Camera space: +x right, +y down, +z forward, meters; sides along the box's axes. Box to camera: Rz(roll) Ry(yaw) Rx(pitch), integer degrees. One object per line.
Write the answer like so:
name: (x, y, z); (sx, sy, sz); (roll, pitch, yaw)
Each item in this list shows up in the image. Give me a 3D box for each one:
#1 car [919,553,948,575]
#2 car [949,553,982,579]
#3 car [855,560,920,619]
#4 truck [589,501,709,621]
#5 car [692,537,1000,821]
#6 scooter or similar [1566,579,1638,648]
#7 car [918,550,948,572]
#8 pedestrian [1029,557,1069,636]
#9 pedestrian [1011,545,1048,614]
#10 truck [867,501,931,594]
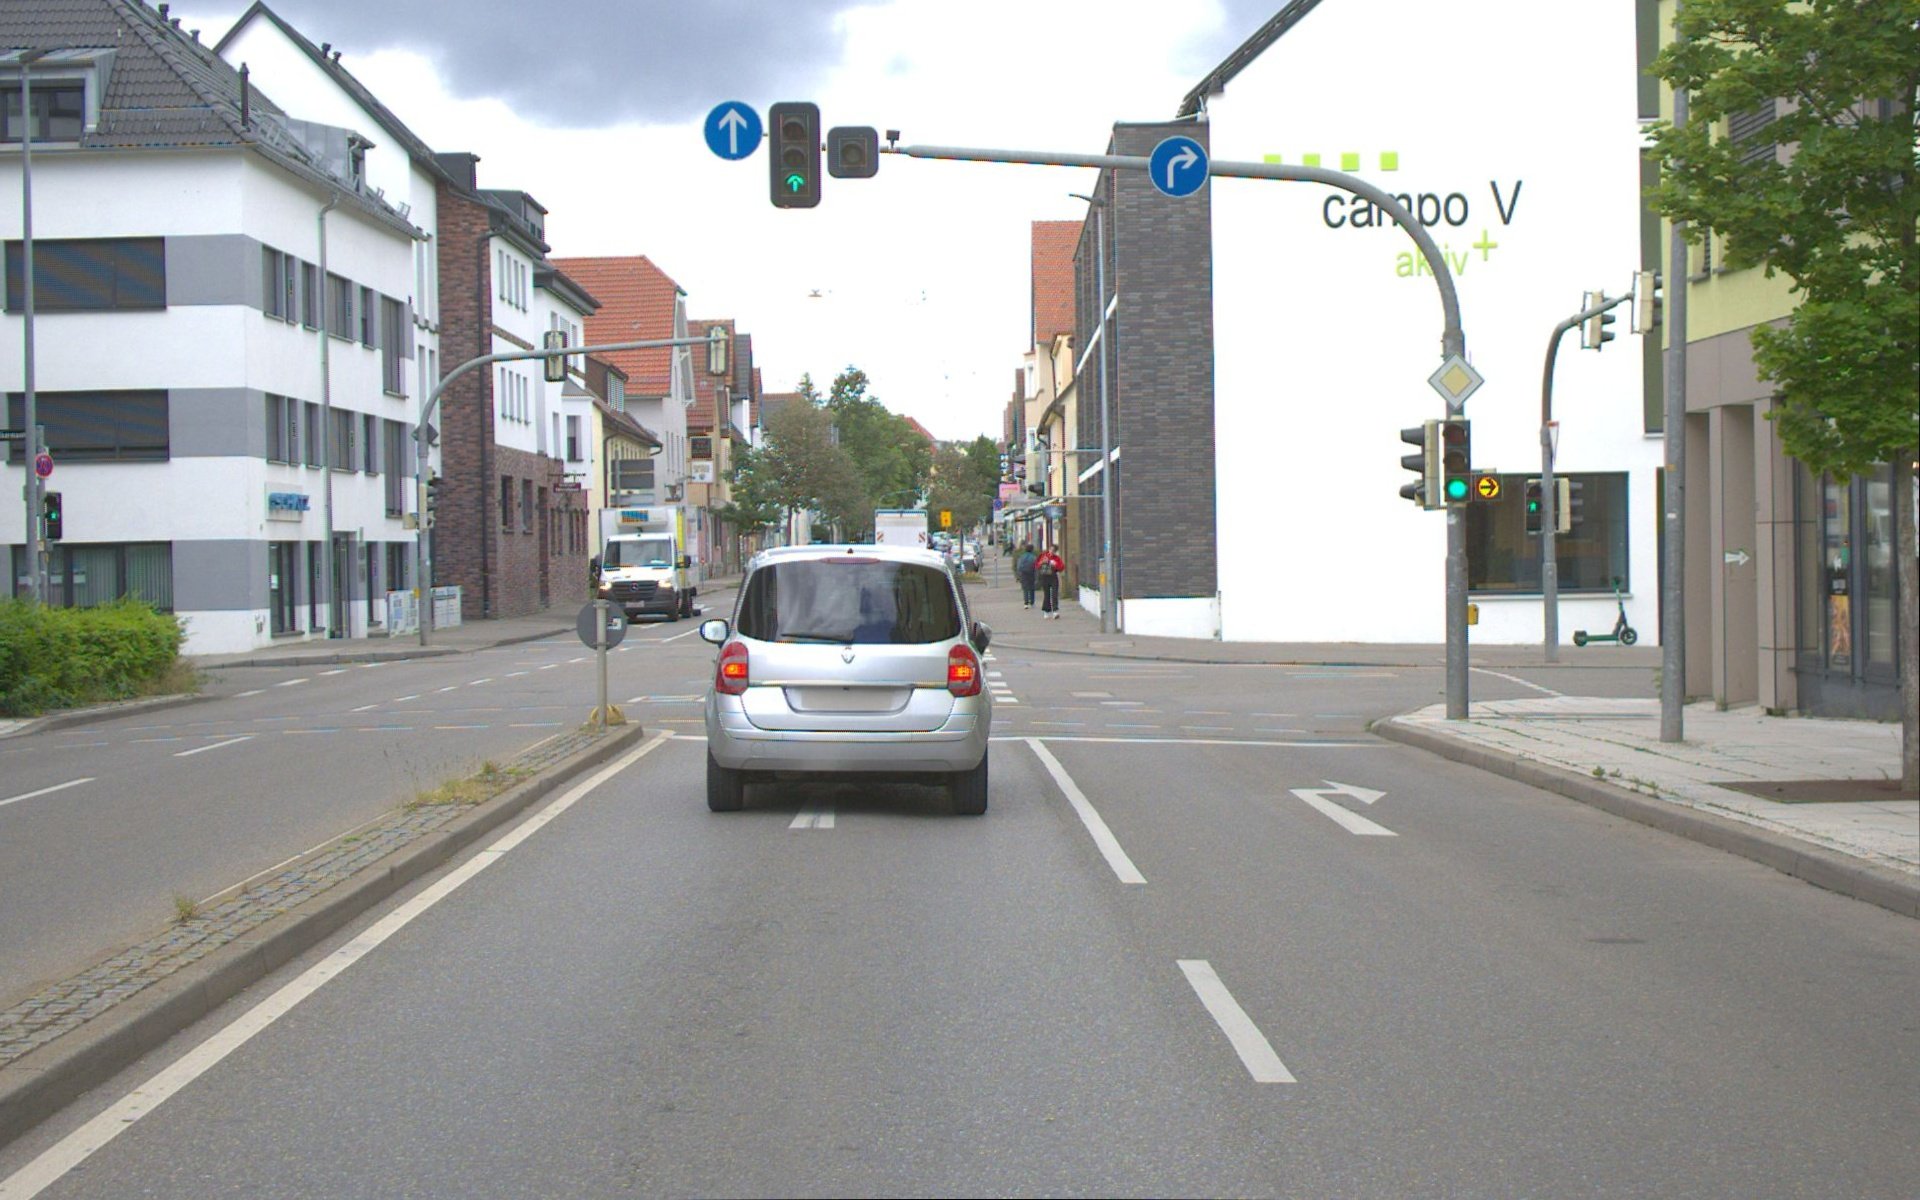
car: (-1.686, -2.308, 220.123); (1.812, 1.349, 4.000); (-1, 1, 0)
car: (0.301, -1.868, 190.105); (1.812, 1.349, 4.000); (-1, 1, 0)
car: (-1.979, -0.305, 94.709); (1.706, 1.573, 4.000); (1, 1, -1)
truck: (-8.078, -1.035, 90.069); (2.435, 2.943, 8.365); (-1, 1, -1)
car: (-0.670, 0.418, 21.397); (1.706, 1.573, 4.000); (1, 1, -1)
scooter or similar: (11.750, 0.241, 62.946); (1.230, 1.231, 0.406); (1, 1, 0)
car: (-1.726, -2.508, 220.116); (1.812, 1.349, 4.000); (-1, 1, 0)
pedestrian: (2.051, -0.083, 79.301); (0.807, 1.781, 0.861); (-3, 1, 0)
pedestrian: (1.848, -0.538, 91.659); (0.889, 1.781, 0.785); (-3, 1, 0)
truck: (-2.576, -2.239, 146.514); (2.595, 3.844, 6.849); (0, 1, 0)
